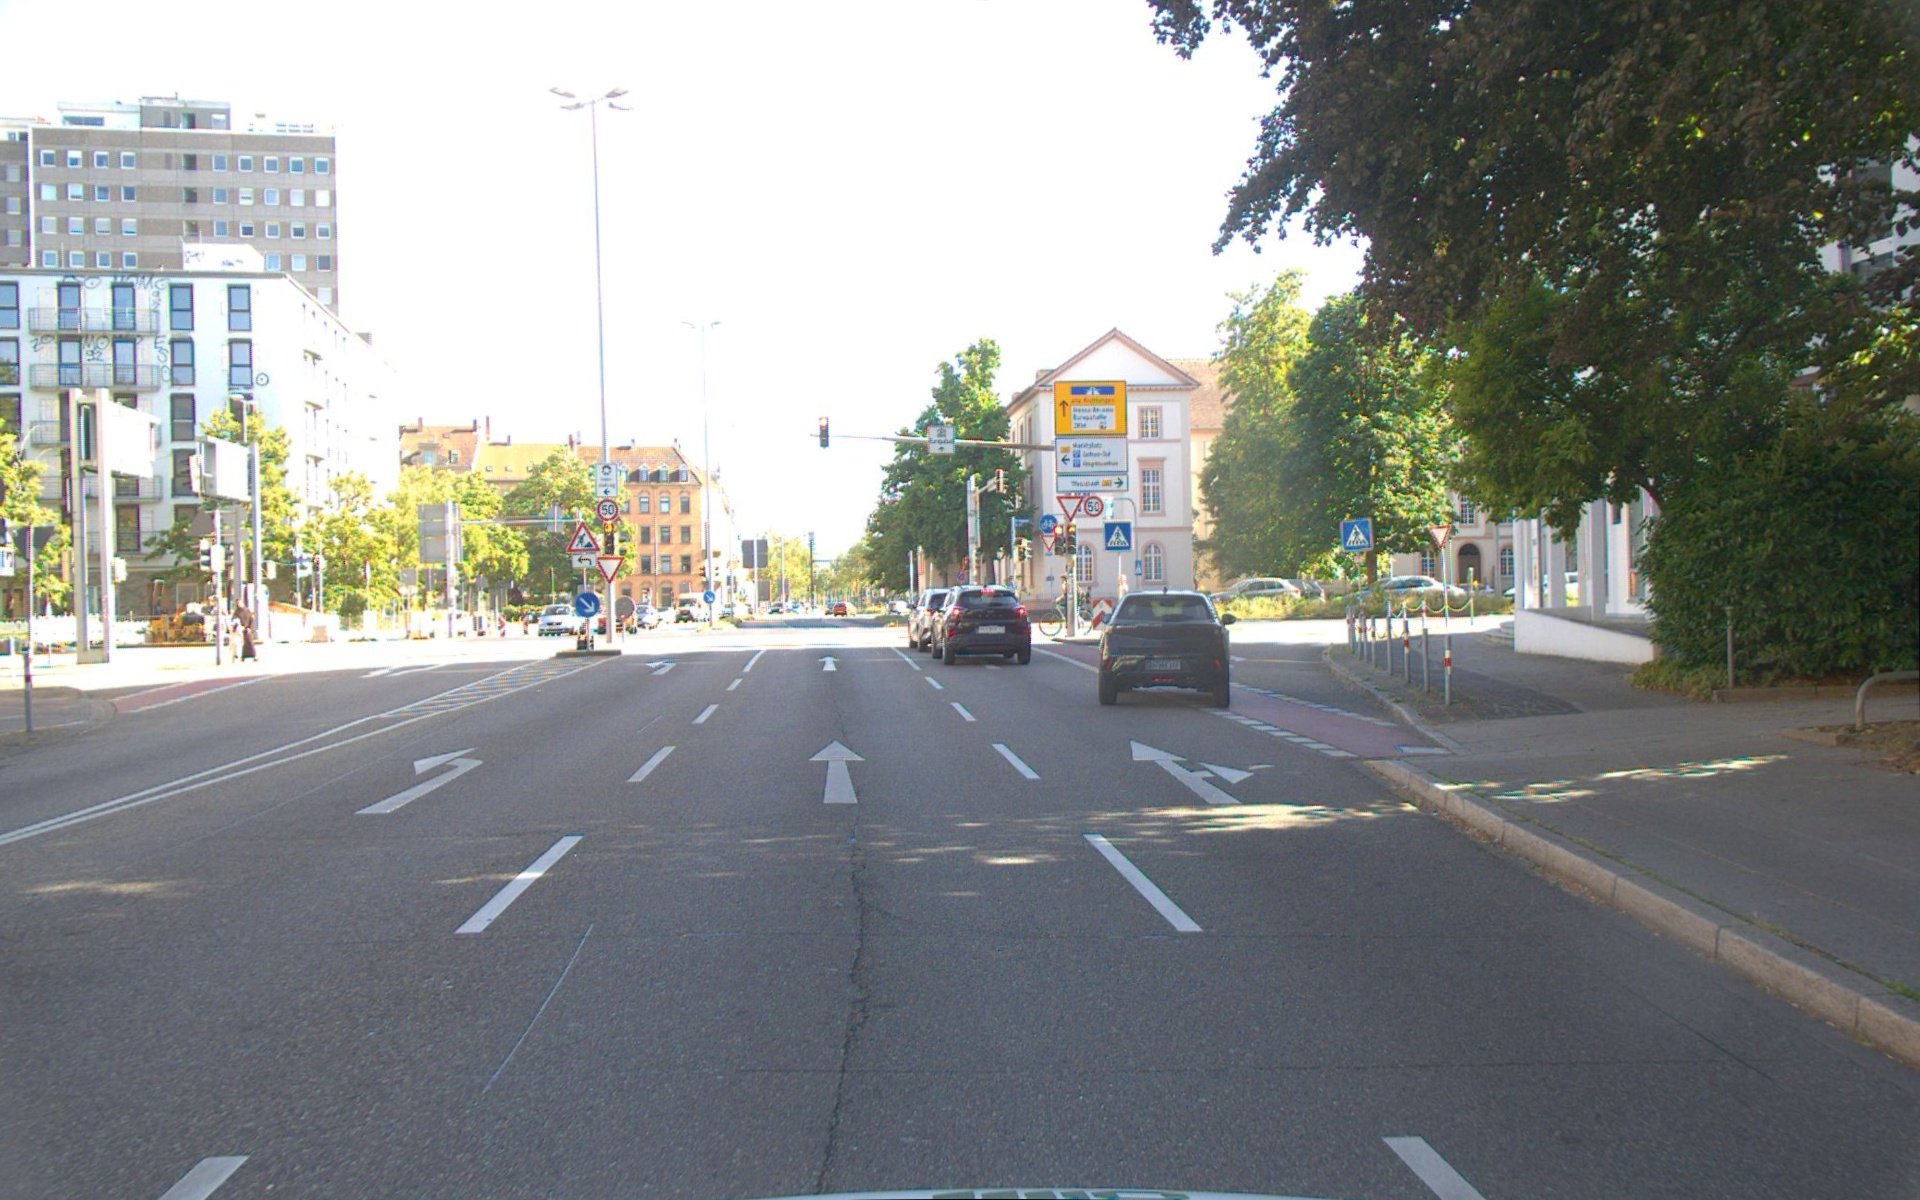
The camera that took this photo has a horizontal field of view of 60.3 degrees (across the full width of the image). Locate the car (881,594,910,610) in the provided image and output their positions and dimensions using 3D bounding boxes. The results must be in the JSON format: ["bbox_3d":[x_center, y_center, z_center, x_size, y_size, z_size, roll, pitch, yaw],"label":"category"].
[{"bbox_3d":[-7.567,0.230,193.192,2.129,1.728,4.002,-1,0,17],"label":"car"}]

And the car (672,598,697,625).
[{"bbox_3d":[-23.328,0.969,140.359,1.775,2.171,3.995,-2,0,-6],"label":"car"}]

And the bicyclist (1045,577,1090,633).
[{"bbox_3d":[3.211,0.141,49.288,1.148,1.662,0.725,-1,0,-20],"label":"bicyclist"}]

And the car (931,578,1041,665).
[{"bbox_3d":[0.466,0.400,33.610,1.795,1.606,3.835,-2,1,-6],"label":"car"}]

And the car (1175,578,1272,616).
[{"bbox_3d":[12.225,-0.142,76.769,4.043,1.629,1.817,-2,0,-13],"label":"car"}]

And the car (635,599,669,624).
[{"bbox_3d":[-20.087,0.741,108.027,1.838,1.473,3.995,-2,0,-6],"label":"car"}]

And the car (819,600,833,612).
[{"bbox_3d":[-17.574,0.747,217.137,1.775,1.473,3.995,-2,0,-6],"label":"car"}]

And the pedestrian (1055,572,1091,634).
[{"bbox_3d":[3.202,0.083,46.876,0.811,1.731,0.915,-1,0,-11],"label":"pedestrian"}]

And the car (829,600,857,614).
[{"bbox_3d":[-12.635,0.739,178.435,1.772,1.431,4.003,-1,0,15],"label":"car"}]

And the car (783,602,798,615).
[{"bbox_3d":[-20.578,0.972,201.203,1.775,1.473,3.995,-2,0,-6],"label":"car"}]

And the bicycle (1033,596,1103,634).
[{"bbox_3d":[3.218,0.443,49.310,2.002,1.079,0.618,-1,0,-21],"label":"bicycle"}]

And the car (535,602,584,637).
[{"bbox_3d":[-20.290,0.969,83.985,1.838,1.645,3.995,-2,0,-6],"label":"car"}]

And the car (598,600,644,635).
[{"bbox_3d":[-16.879,0.836,82.533,1.756,1.645,3.995,-2,0,-5],"label":"car"}]

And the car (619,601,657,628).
[{"bbox_3d":[-19.268,0.840,98.972,1.838,1.473,3.995,-2,0,-6],"label":"car"}]

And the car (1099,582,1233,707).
[{"bbox_3d":[2.839,0.567,23.036,1.708,1.601,3.560,0,0,6],"label":"car"}]

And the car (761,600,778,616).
[{"bbox_3d":[-20.742,0.871,179.978,1.775,1.662,3.995,-2,0,-6],"label":"car"}]

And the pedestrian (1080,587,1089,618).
[{"bbox_3d":[6.730,0.137,89.173,0.431,1.643,0.467,1,-1,0],"label":"pedestrian"}]

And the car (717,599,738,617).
[{"bbox_3d":[-22.481,0.774,159.954,1.775,1.662,3.995,-2,0,-6],"label":"car"}]

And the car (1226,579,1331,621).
[{"bbox_3d":[13.626,0.000,70.797,4.043,1.629,1.817,-2,0,-13],"label":"car"}]

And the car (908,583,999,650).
[{"bbox_3d":[-0.197,0.360,39.687,1.795,1.478,3.983,-2,0,-6],"label":"car"}]

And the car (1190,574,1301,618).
[{"bbox_3d":[11.517,-0.161,66.776,4.043,1.629,1.817,-2,0,-13],"label":"car"}]

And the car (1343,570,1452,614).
[{"bbox_3d":[18.067,-0.323,68.400,3.915,1.672,1.918,-2,0,-10],"label":"car"}]

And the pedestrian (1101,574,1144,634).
[{"bbox_3d":[4.683,0.119,47.774,1.021,1.688,0.782,-2,0,-9],"label":"pedestrian"}]

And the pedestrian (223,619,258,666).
[{"bbox_3d":[-18.586,1.092,42.719,0.657,1.186,0.667,-2,0,-39],"label":"pedestrian"}]

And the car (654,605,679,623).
[{"bbox_3d":[-25.924,1.252,146.008,1.838,1.473,3.995,-2,0,-6],"label":"car"}]

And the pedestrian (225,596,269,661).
[{"bbox_3d":[-18.876,0.744,43.768,0.664,1.678,0.828,-1,0,40],"label":"pedestrian"}]
